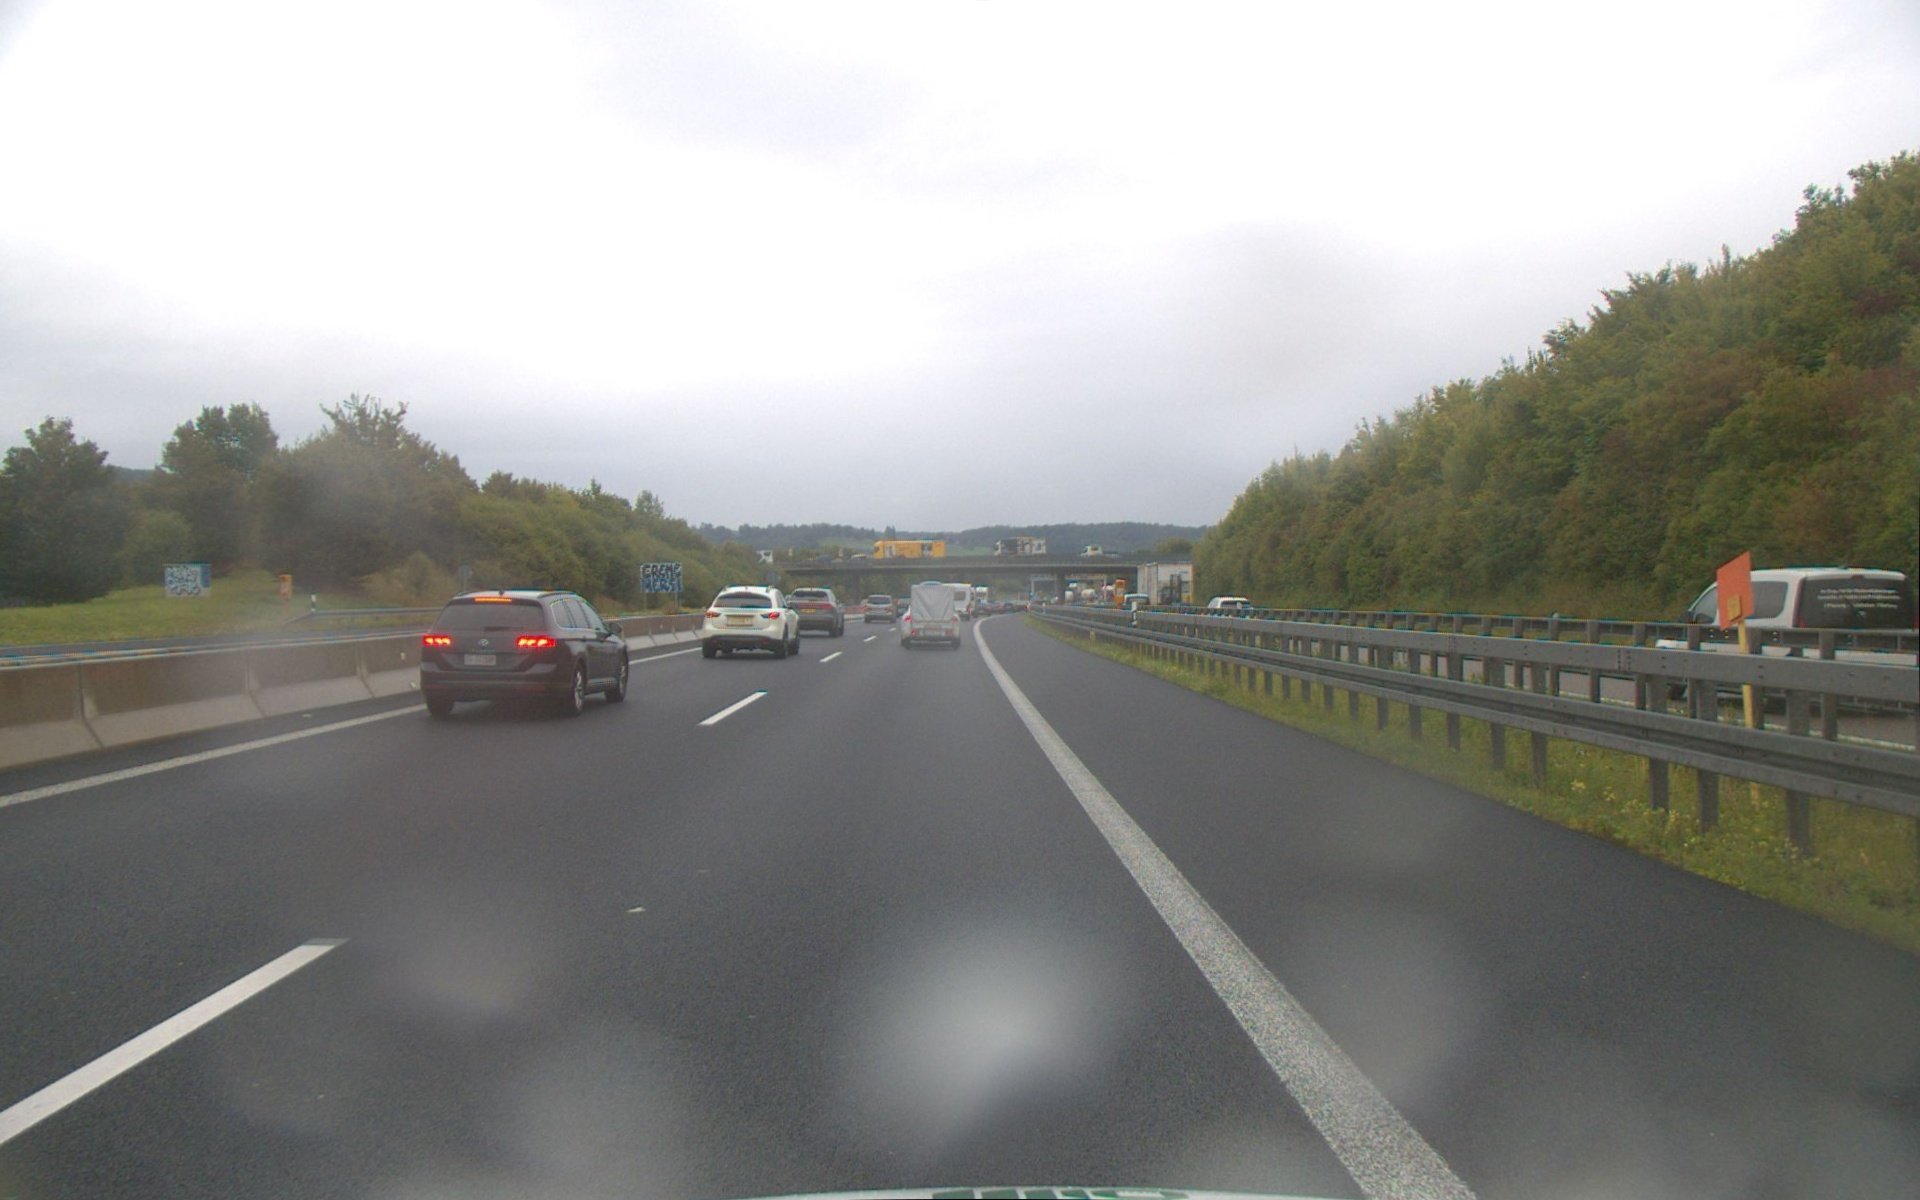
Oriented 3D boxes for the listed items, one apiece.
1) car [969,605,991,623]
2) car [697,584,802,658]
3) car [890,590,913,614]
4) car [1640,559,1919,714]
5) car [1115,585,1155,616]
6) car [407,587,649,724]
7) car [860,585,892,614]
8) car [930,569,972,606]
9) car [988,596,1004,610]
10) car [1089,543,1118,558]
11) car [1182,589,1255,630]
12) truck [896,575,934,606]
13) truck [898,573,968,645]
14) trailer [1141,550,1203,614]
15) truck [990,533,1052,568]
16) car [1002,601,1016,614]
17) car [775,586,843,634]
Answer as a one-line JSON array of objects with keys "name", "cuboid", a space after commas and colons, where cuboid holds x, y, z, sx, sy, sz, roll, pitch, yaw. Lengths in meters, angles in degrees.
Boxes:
[{"name": "car", "cuboid": [2.023, 1.399, 167.550, 1.954, 1.780, 3.997, 1, 0, -4]}, {"name": "car", "cuboid": [-4.926, 0.463, 39.277, 1.936, 1.668, 4.500, 0, 0, 0]}, {"name": "car", "cuboid": [-4.658, 0.166, 130.887, 1.805, 1.851, 3.998, 0, 0, -2]}, {"name": "car", "cuboid": [10.952, 0.428, 21.896, 1.968, 1.846, 4.274, 0, 0, -3]}, {"name": "car", "cuboid": [10.824, 0.016, 102.599, 1.822, 1.836, 4.646, 0, 0, -2]}, {"name": "car", "cuboid": [-5.270, 0.622, 20.845, 1.862, 1.523, 4.850, 0, 0, -1]}, {"name": "car", "cuboid": [-4.918, -0.054, 97.377, 1.862, 1.641, 4.015, 0, 0, -2]}, {"name": "car", "cuboid": [-0.630, -0.920, 119.599, 2.954, 2.662, 6.075, 0, 1, 1]}, {"name": "car", "cuboid": [4.635, 0.390, 213.117, 1.953, 1.780, 4.000, 1, 0, 0]}, {"name": "car", "cuboid": [20.062, -6.927, 230.815, 1.825, 1.948, 3.944, 1, 0, -39]}, {"name": "car", "cuboid": [10.404, 0.364, 66.965, 1.968, 1.575, 4.692, 0, 0, -4]}, {"name": "truck", "cuboid": [-5.343, -1.124, 199.528, 3.688, 3.616, 13.190, 0, 0, 2]}, {"name": "truck", "cuboid": [-0.891, 0.215, 49.893, 1.978, 2.020, 7.210, 0, 0, -2]}, {"name": "trailer", "cuboid": [14.991, -1.289, 117.893, 3.366, 4.364, 10.456, 0, 0, 2]}, {"name": "truck", "cuboid": [9.043, -7.316, 246.889, 3.740, 4.920, 9.906, 0, 0, -38]}, {"name": "car", "cuboid": [7.176, 1.081, 240.625, 1.952, 1.780, 4.000, 1, 0, 1]}, {"name": "car", "cuboid": [-5.401, 0.325, 59.719, 2.130, 1.660, 4.500, 0, 0, -1]}]
